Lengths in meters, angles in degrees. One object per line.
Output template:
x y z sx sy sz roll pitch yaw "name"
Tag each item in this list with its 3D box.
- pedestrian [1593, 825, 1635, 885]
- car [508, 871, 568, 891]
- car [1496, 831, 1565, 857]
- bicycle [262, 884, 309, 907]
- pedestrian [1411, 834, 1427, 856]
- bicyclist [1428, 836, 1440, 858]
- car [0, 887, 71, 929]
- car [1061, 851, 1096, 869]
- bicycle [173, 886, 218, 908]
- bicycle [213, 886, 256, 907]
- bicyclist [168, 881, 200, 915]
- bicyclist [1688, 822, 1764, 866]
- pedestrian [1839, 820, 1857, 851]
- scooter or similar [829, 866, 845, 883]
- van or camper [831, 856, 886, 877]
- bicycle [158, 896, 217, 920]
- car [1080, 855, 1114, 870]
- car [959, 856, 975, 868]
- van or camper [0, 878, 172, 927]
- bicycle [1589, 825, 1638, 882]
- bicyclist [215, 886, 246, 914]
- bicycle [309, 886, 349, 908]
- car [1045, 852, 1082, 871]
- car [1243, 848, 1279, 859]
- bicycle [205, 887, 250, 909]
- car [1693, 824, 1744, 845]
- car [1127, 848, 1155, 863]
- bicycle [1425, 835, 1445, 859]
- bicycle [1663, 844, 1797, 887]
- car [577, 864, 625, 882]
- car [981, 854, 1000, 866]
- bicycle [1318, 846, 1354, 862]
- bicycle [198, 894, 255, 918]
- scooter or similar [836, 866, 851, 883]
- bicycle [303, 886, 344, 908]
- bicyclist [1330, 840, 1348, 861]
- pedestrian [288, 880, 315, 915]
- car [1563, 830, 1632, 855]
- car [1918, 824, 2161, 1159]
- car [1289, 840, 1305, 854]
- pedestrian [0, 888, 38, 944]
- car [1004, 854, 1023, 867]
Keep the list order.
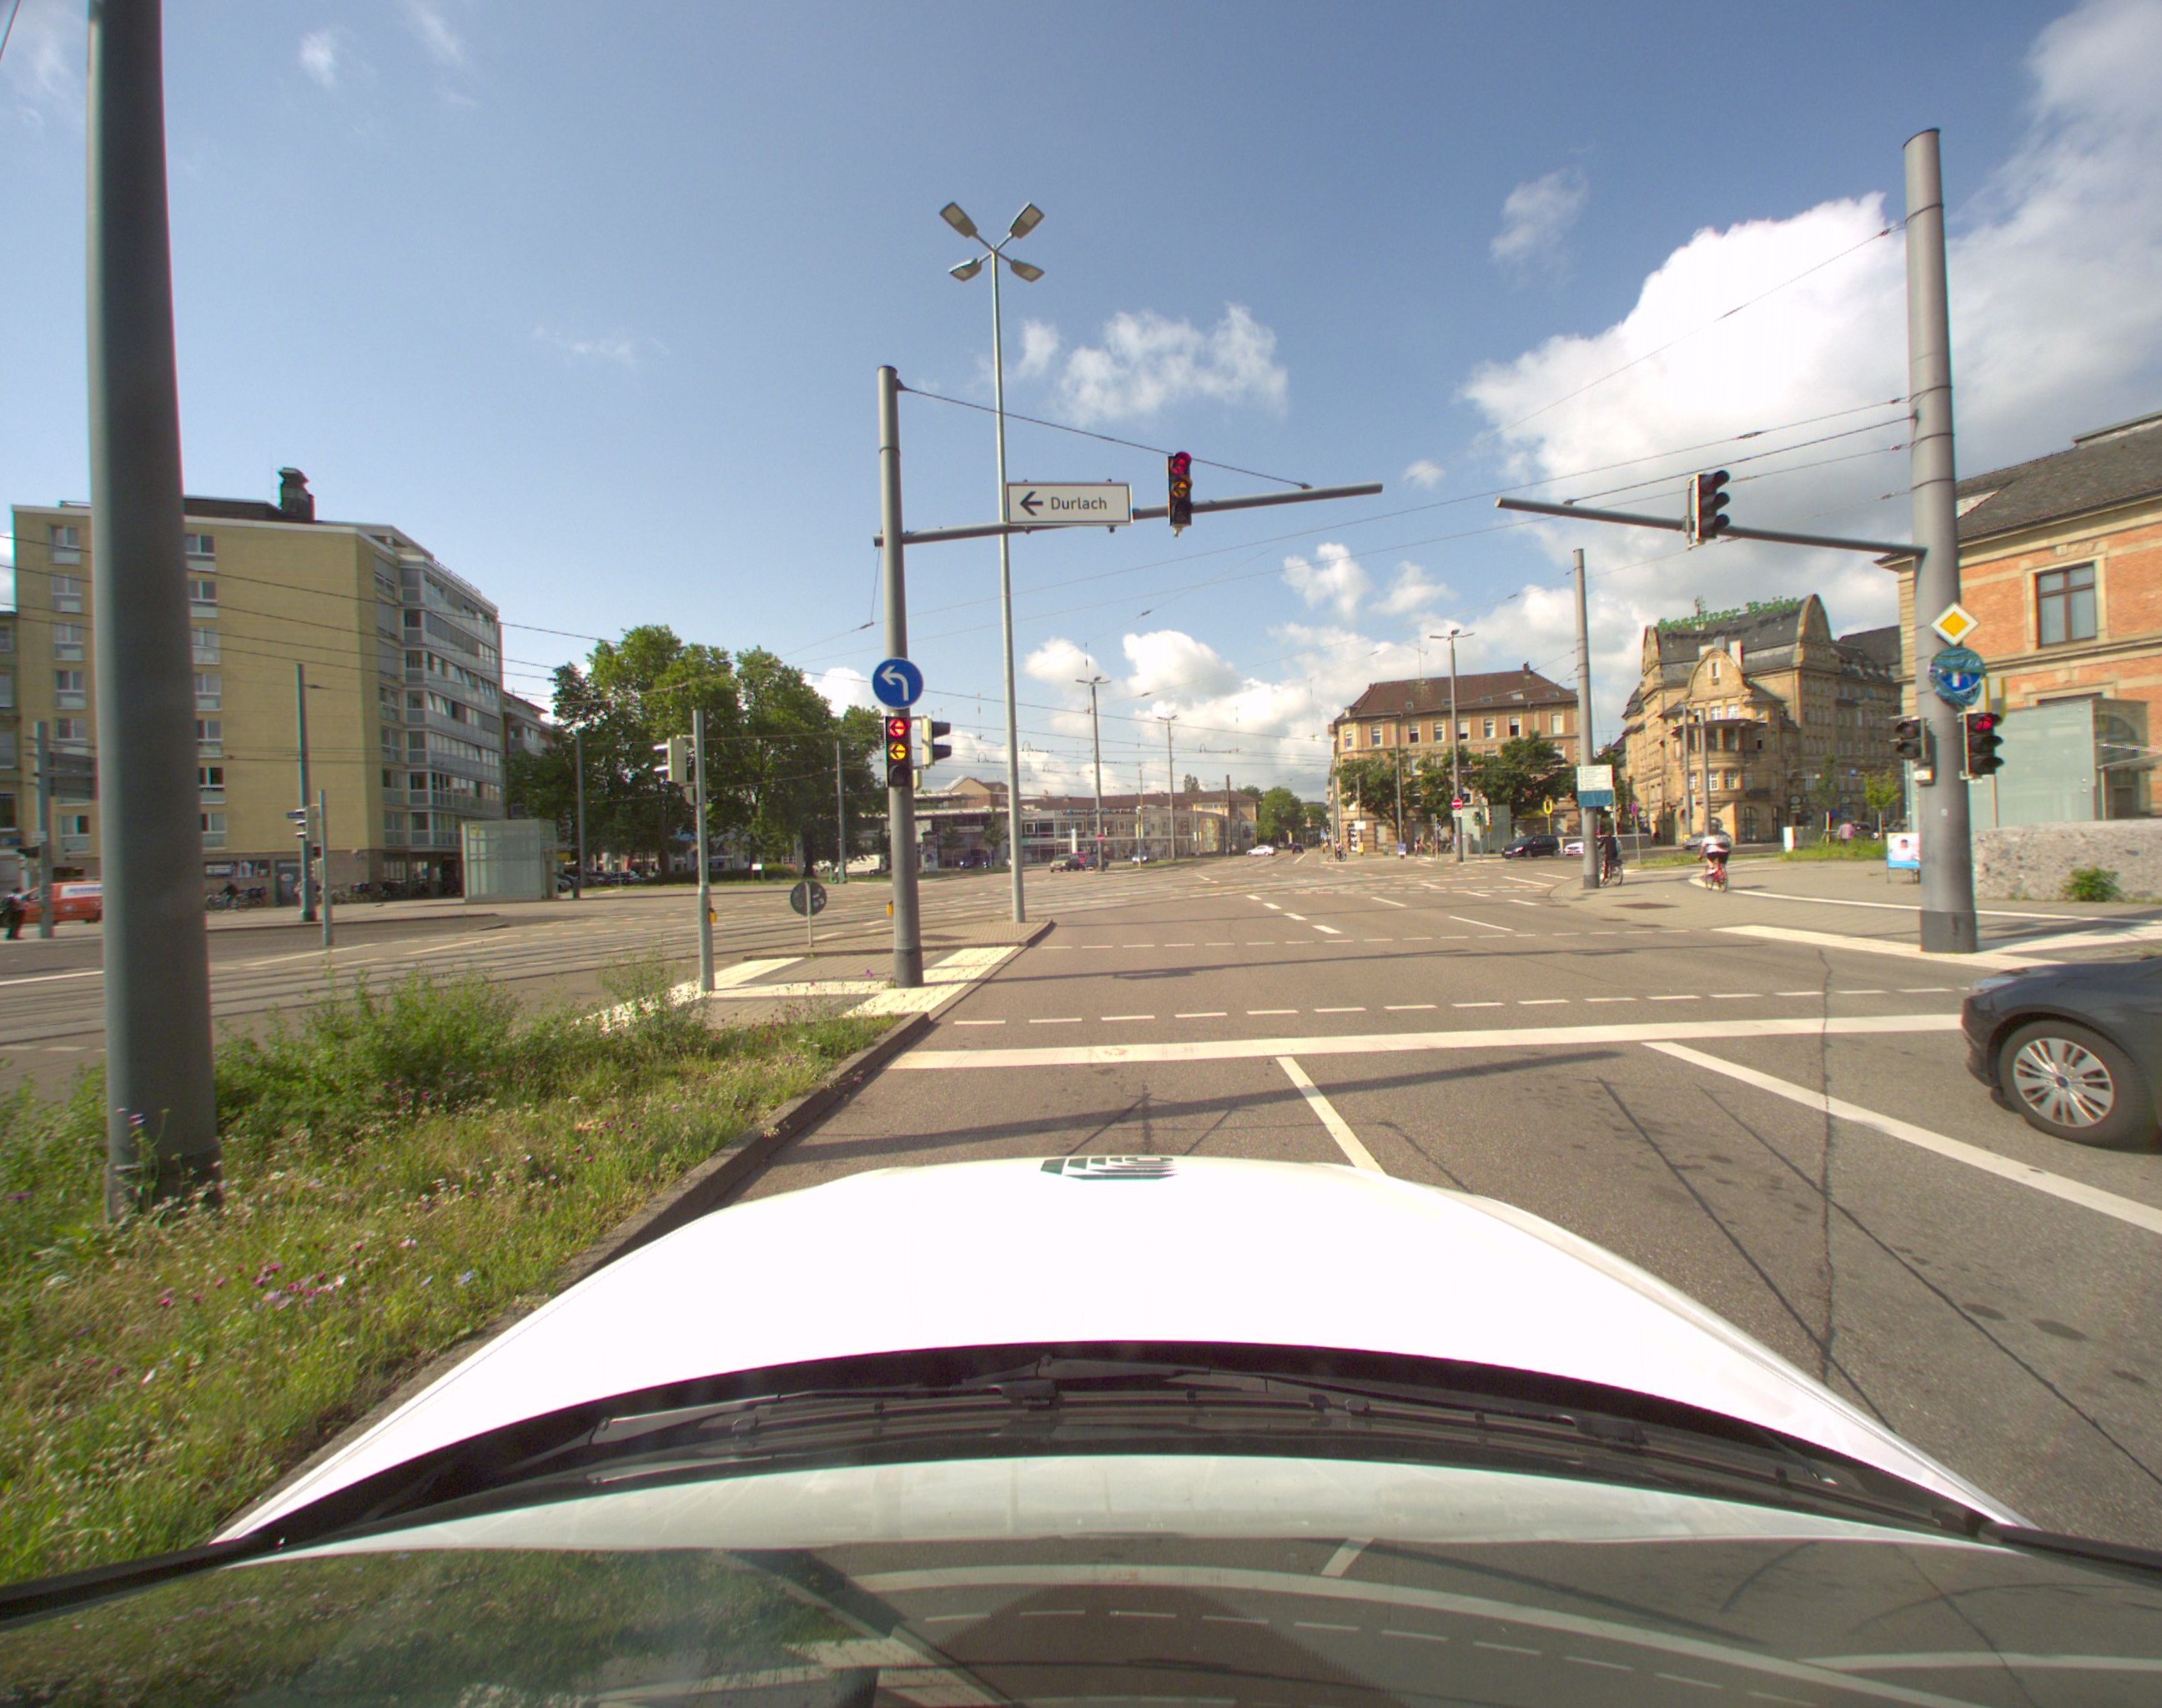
16.792 0.048 25.667 0.983 1.841 1.002 -1 -1 27 "pedestrian"
-43.367 2.119 65.131 3.570 1.530 1.989 0 -1 -16 "car"
30.903 -0.653 55.942 4.348 1.739 1.983 0 -1 -26 "car"
-46.467 2.418 47.588 1.892 1.272 0.484 4 0 -24 "bicycle"
28.255 -0.783 68.093 0.865 1.810 0.884 0 -1 -10 "pedestrian"
26.777 -0.508 61.760 0.571 1.671 0.656 -2 0 -2 "bicyclist"
-49.441 2.465 38.302 5.000 1.468 1.903 4 0 33 "car"
-0.175 0.534 71.736 1.978 1.519 4.018 -1 -1 18 "car"
-50.982 2.484 46.888 1.643 1.202 0.485 3 -3 -16 "bicycle"
-49.195 2.475 47.345 1.643 1.202 0.485 3 -3 -16 "bicycle"
-47.526 2.310 43.160 0.826 1.745 0.709 -2 0 -12 "bicyclist"
16.491 -0.244 20.848 0.987 1.028 1.215 1 -3 1 "bicyclist"
38.113 -0.925 40.478 0.501 1.505 0.501 -2 0 -33 "pedestrian"
-16.689 1.415 55.771 0.934 1.157 0.377 3 1 -43 "scooter or similar"
-26.345 1.459 96.562 5.848 2.469 2.396 0 -1 5 "van or camper"
-47.358 2.833 43.177 1.988 1.127 0.786 -2 0 -14 "bicycle"
1.322 0.706 65.816 1.608 1.161 4.018 -1 -1 18 "car"
-14.409 1.012 103.148 1.918 1.445 3.989 -2 0 -8 "car"
-43.156 2.041 35.345 4.522 1.914 2.002 0 -1 -20 "van or camper"
16.792 0.002 25.752 0.996 1.725 2.483 -1 -1 27 "bicycle"
-46.727 2.523 44.739 0.832 1.497 0.786 -2 0 -14 "bicyclist"
-44.923 2.558 48.671 1.643 1.272 0.485 3 -3 -16 "bicycle"
-1.355 0.585 66.286 1.806 1.513 4.018 -1 -1 18 "car"
24.022 -0.075 108.733 4.425 1.464 1.792 -1 -1 28 "car"
-49.060 2.542 46.814 1.643 1.202 0.546 3 -3 -16 "bicycle"
54.931 -1.672 70.184 4.006 1.600 1.741 -2 0 -24 "car"
6.675 0.180 90.692 1.976 1.552 4.021 -2 0 21 "car"
26.896 -0.543 61.840 0.727 1.777 1.636 -2 0 -2 "bicycle"
16.483 0.332 20.847 0.989 1.028 3.109 1 -2 1 "bicycle"
-47.080 1.854 79.933 3.611 1.594 1.659 -2 0 -13 "car"
-11.374 0.729 102.668 1.913 1.445 4.000 -2 0 1 "car"
20.735 0.008 66.197 2.664 1.170 0.900 -2 0 -1 "bicycle"
-46.856 2.842 44.685 1.988 1.127 0.786 -2 0 -14 "bicycle"
-16.180 1.409 55.480 0.377 1.157 0.935 4 1 36 "scooter or similar"
-44.793 2.553 48.150 1.643 1.272 0.528 3 -3 -16 "bicycle"
20.973 -0.272 66.207 1.190 1.658 0.785 -2 0 -1 "bicyclist"
-38.999 2.176 40.737 0.789 1.760 0.984 2 -4 -36 "pedestrian"
37.142 -0.857 58.571 4.693 1.595 1.983 -3 0 -25 "car"
5.806 0.642 2.683 1.761 1.528 4.256 1 0 0 "car"
33.992 -1.087 128.060 1.977 2.013 4.020 -2 0 20 "car"
-34.365 1.976 26.087 0.794 1.673 0.840 3 1 -17 "pedestrian"
-8.648 0.776 104.673 1.911 1.552 4.004 -2 0 3 "car"
